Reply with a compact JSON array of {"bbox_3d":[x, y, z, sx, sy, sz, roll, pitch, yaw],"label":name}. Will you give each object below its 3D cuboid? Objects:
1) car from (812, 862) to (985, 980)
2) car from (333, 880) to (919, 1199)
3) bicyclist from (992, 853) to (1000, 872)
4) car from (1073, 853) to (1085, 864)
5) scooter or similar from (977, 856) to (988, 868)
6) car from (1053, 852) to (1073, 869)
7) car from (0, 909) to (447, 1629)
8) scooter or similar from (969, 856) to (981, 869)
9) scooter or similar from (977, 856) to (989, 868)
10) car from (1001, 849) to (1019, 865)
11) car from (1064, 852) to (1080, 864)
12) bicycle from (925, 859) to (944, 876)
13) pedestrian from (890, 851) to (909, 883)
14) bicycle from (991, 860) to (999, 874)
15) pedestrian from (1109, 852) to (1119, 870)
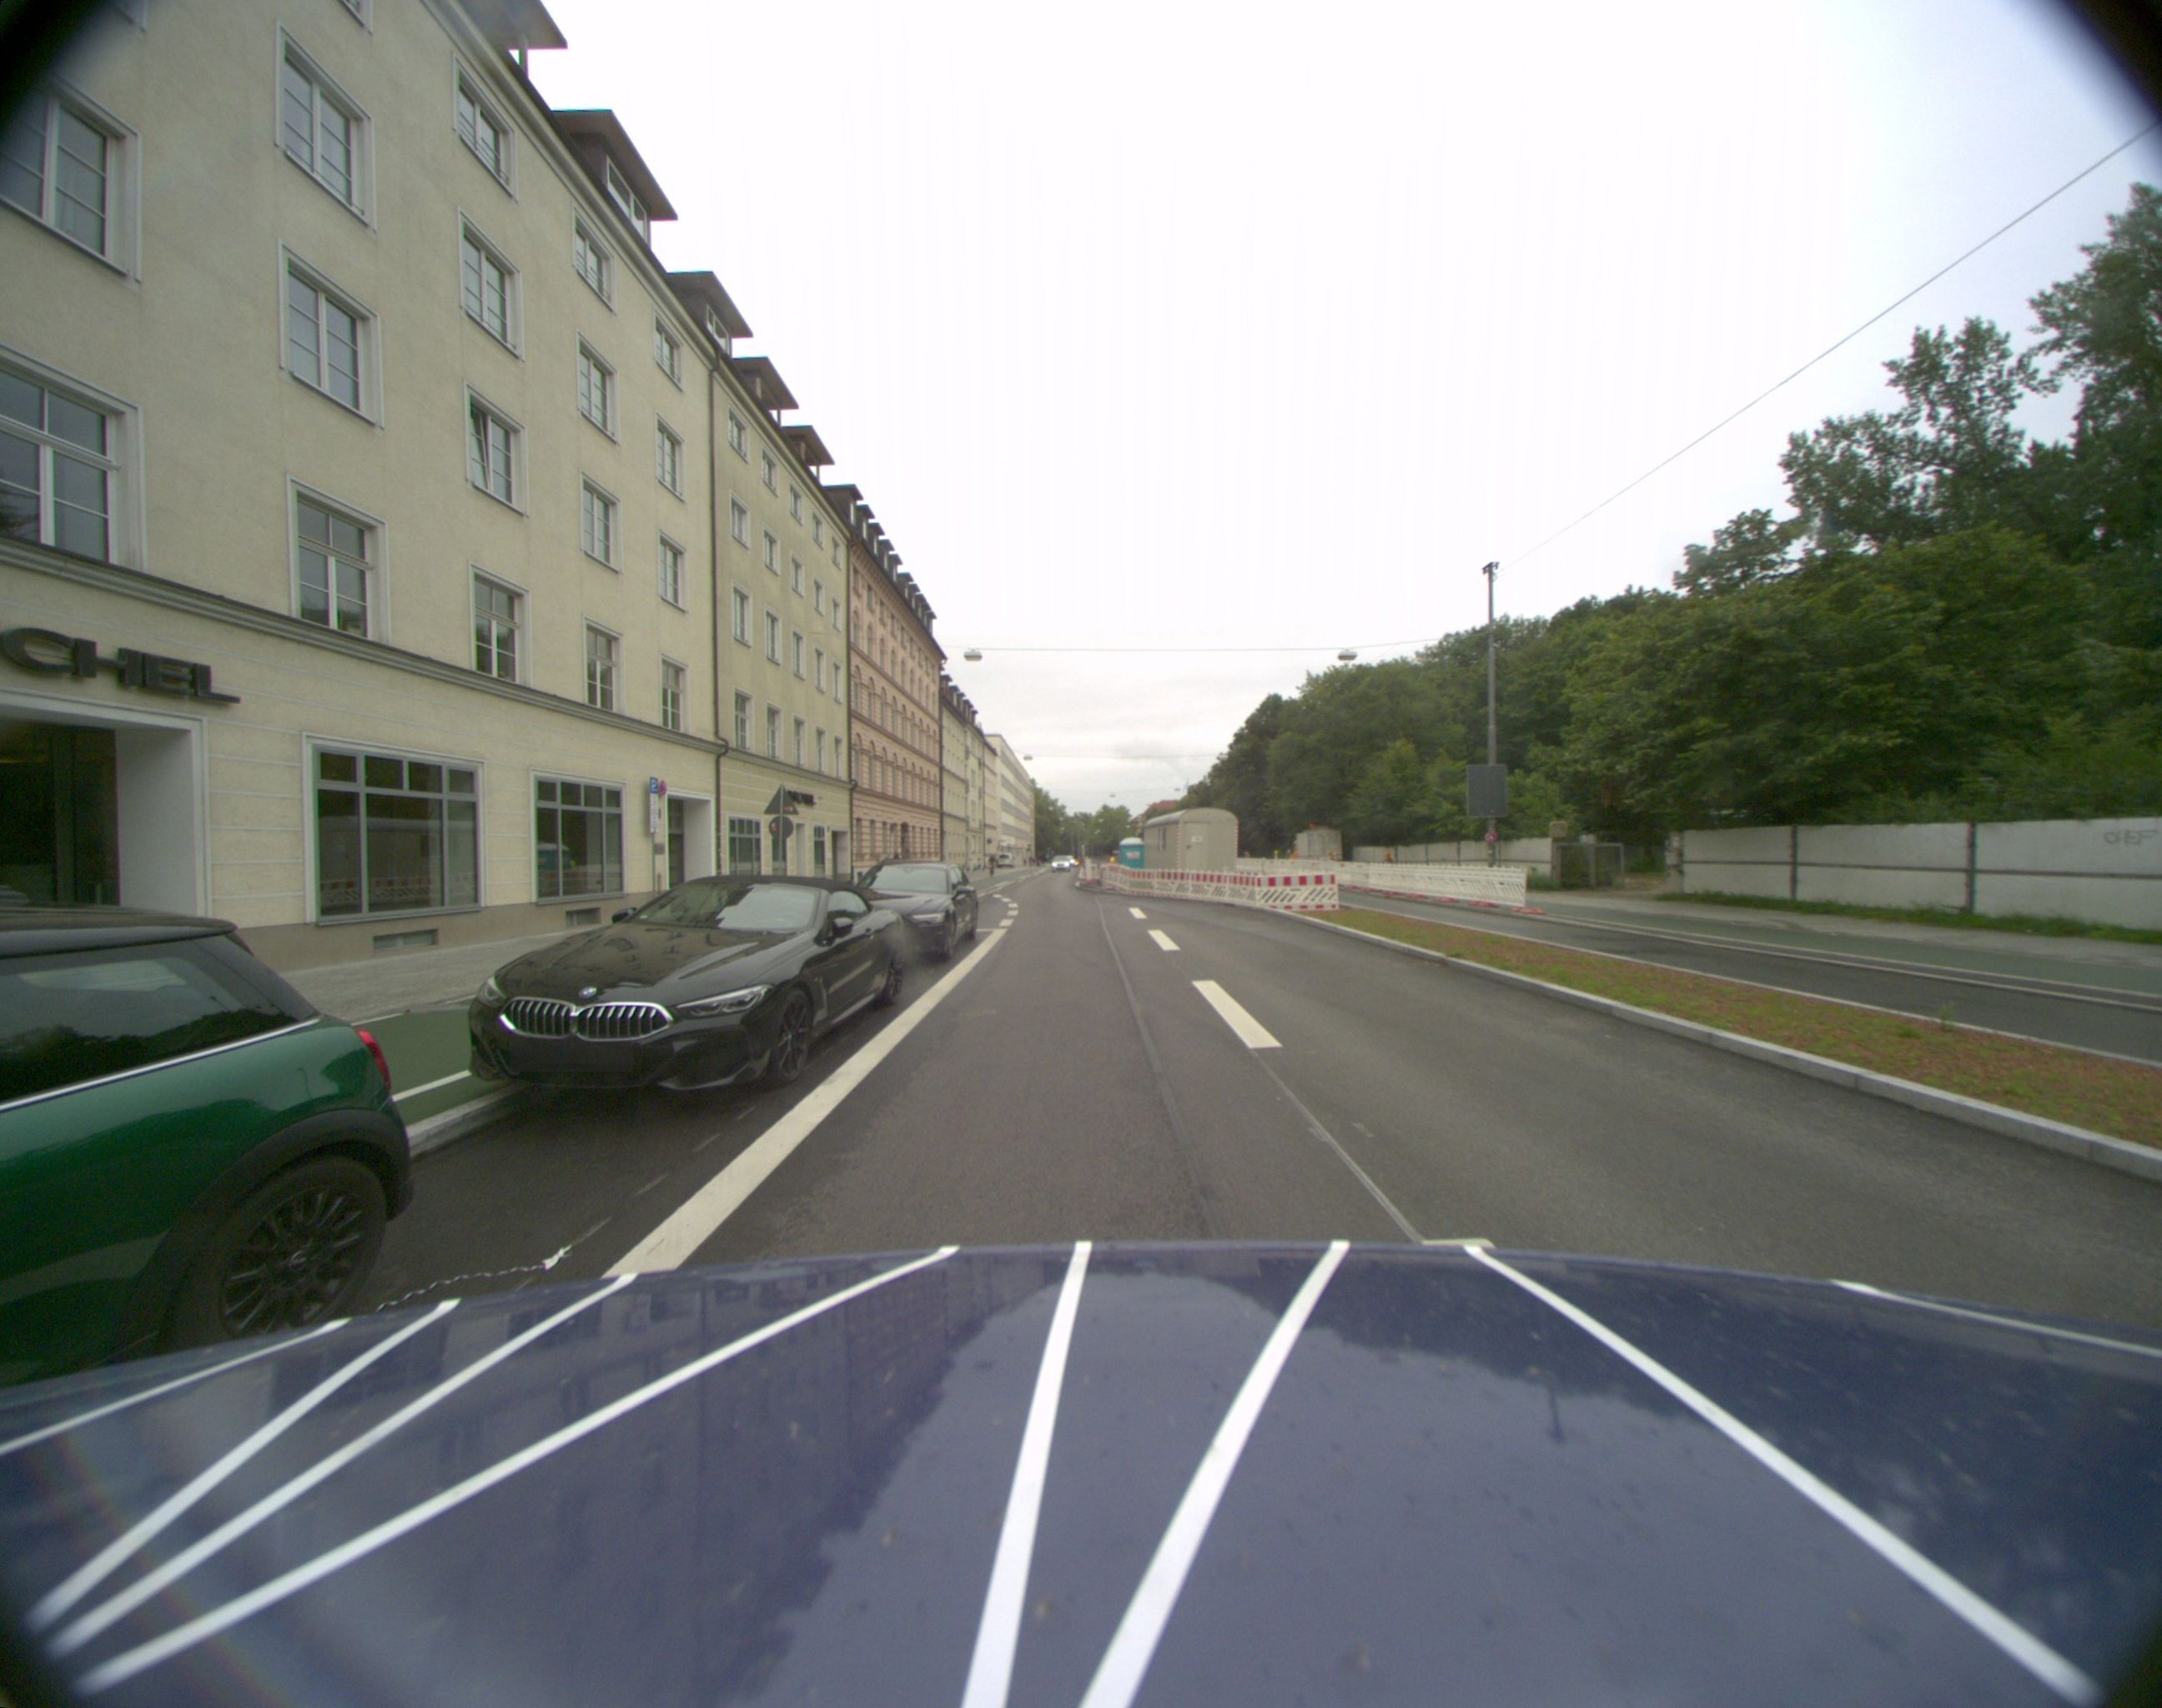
[{"bbox_3d":[-2.775,0.943,12.606,1.813,1.472,4.461,3,0,-1],"label":"car"},{"bbox_3d":[-2.833,1.040,6.246,1.830,1.399,4.720,-2,0,2],"label":"car"},{"bbox_3d":[-6.528,0.657,58.297,0.632,1.459,0.652,-1,1,-6],"label":"bicyclist"},{"bbox_3d":[-0.389,0.798,139.340,1.998,2.002,3.999,-3,1,1],"label":"car"},{"bbox_3d":[-10.036,0.808,77.385,1.079,1.185,0.436,-1,1,-40],"label":"scooter or similar"},{"bbox_3d":[-1.703,0.606,72.547,1.759,1.461,3.999,-2,0,-3],"label":"car"},{"bbox_3d":[-3.283,0.996,0.929,1.679,1.512,3.829,-2,0,2],"label":"car"},{"bbox_3d":[-9.909,0.781,71.208,0.552,1.238,1.079,0,1,35],"label":"scooter or similar"},{"bbox_3d":[-9.772,0.797,76.049,1.078,1.185,0.453,-1,1,-29],"label":"scooter or similar"},{"bbox_3d":[-8.726,0.347,93.638,1.766,1.821,3.999,-1,0,0],"label":"car"},{"bbox_3d":[-1.191,0.450,96.416,1.759,1.461,3.998,-2,0,-4],"label":"car"},{"bbox_3d":[-10.105,0.915,52.524,0.556,1.170,1.727,0,0,15],"label":"bicycle"},{"bbox_3d":[-9.750,0.696,40.840,0.795,1.735,0.833,-1,1,1],"label":"pedestrian"},{"bbox_3d":[-6.593,0.963,58.276,0.632,1.031,2.016,-1,0,-6],"label":"bicycle"},{"bbox_3d":[3.465,0.706,78.722,0.860,1.826,0.874,-1,1,-9],"label":"pedestrian"}]
